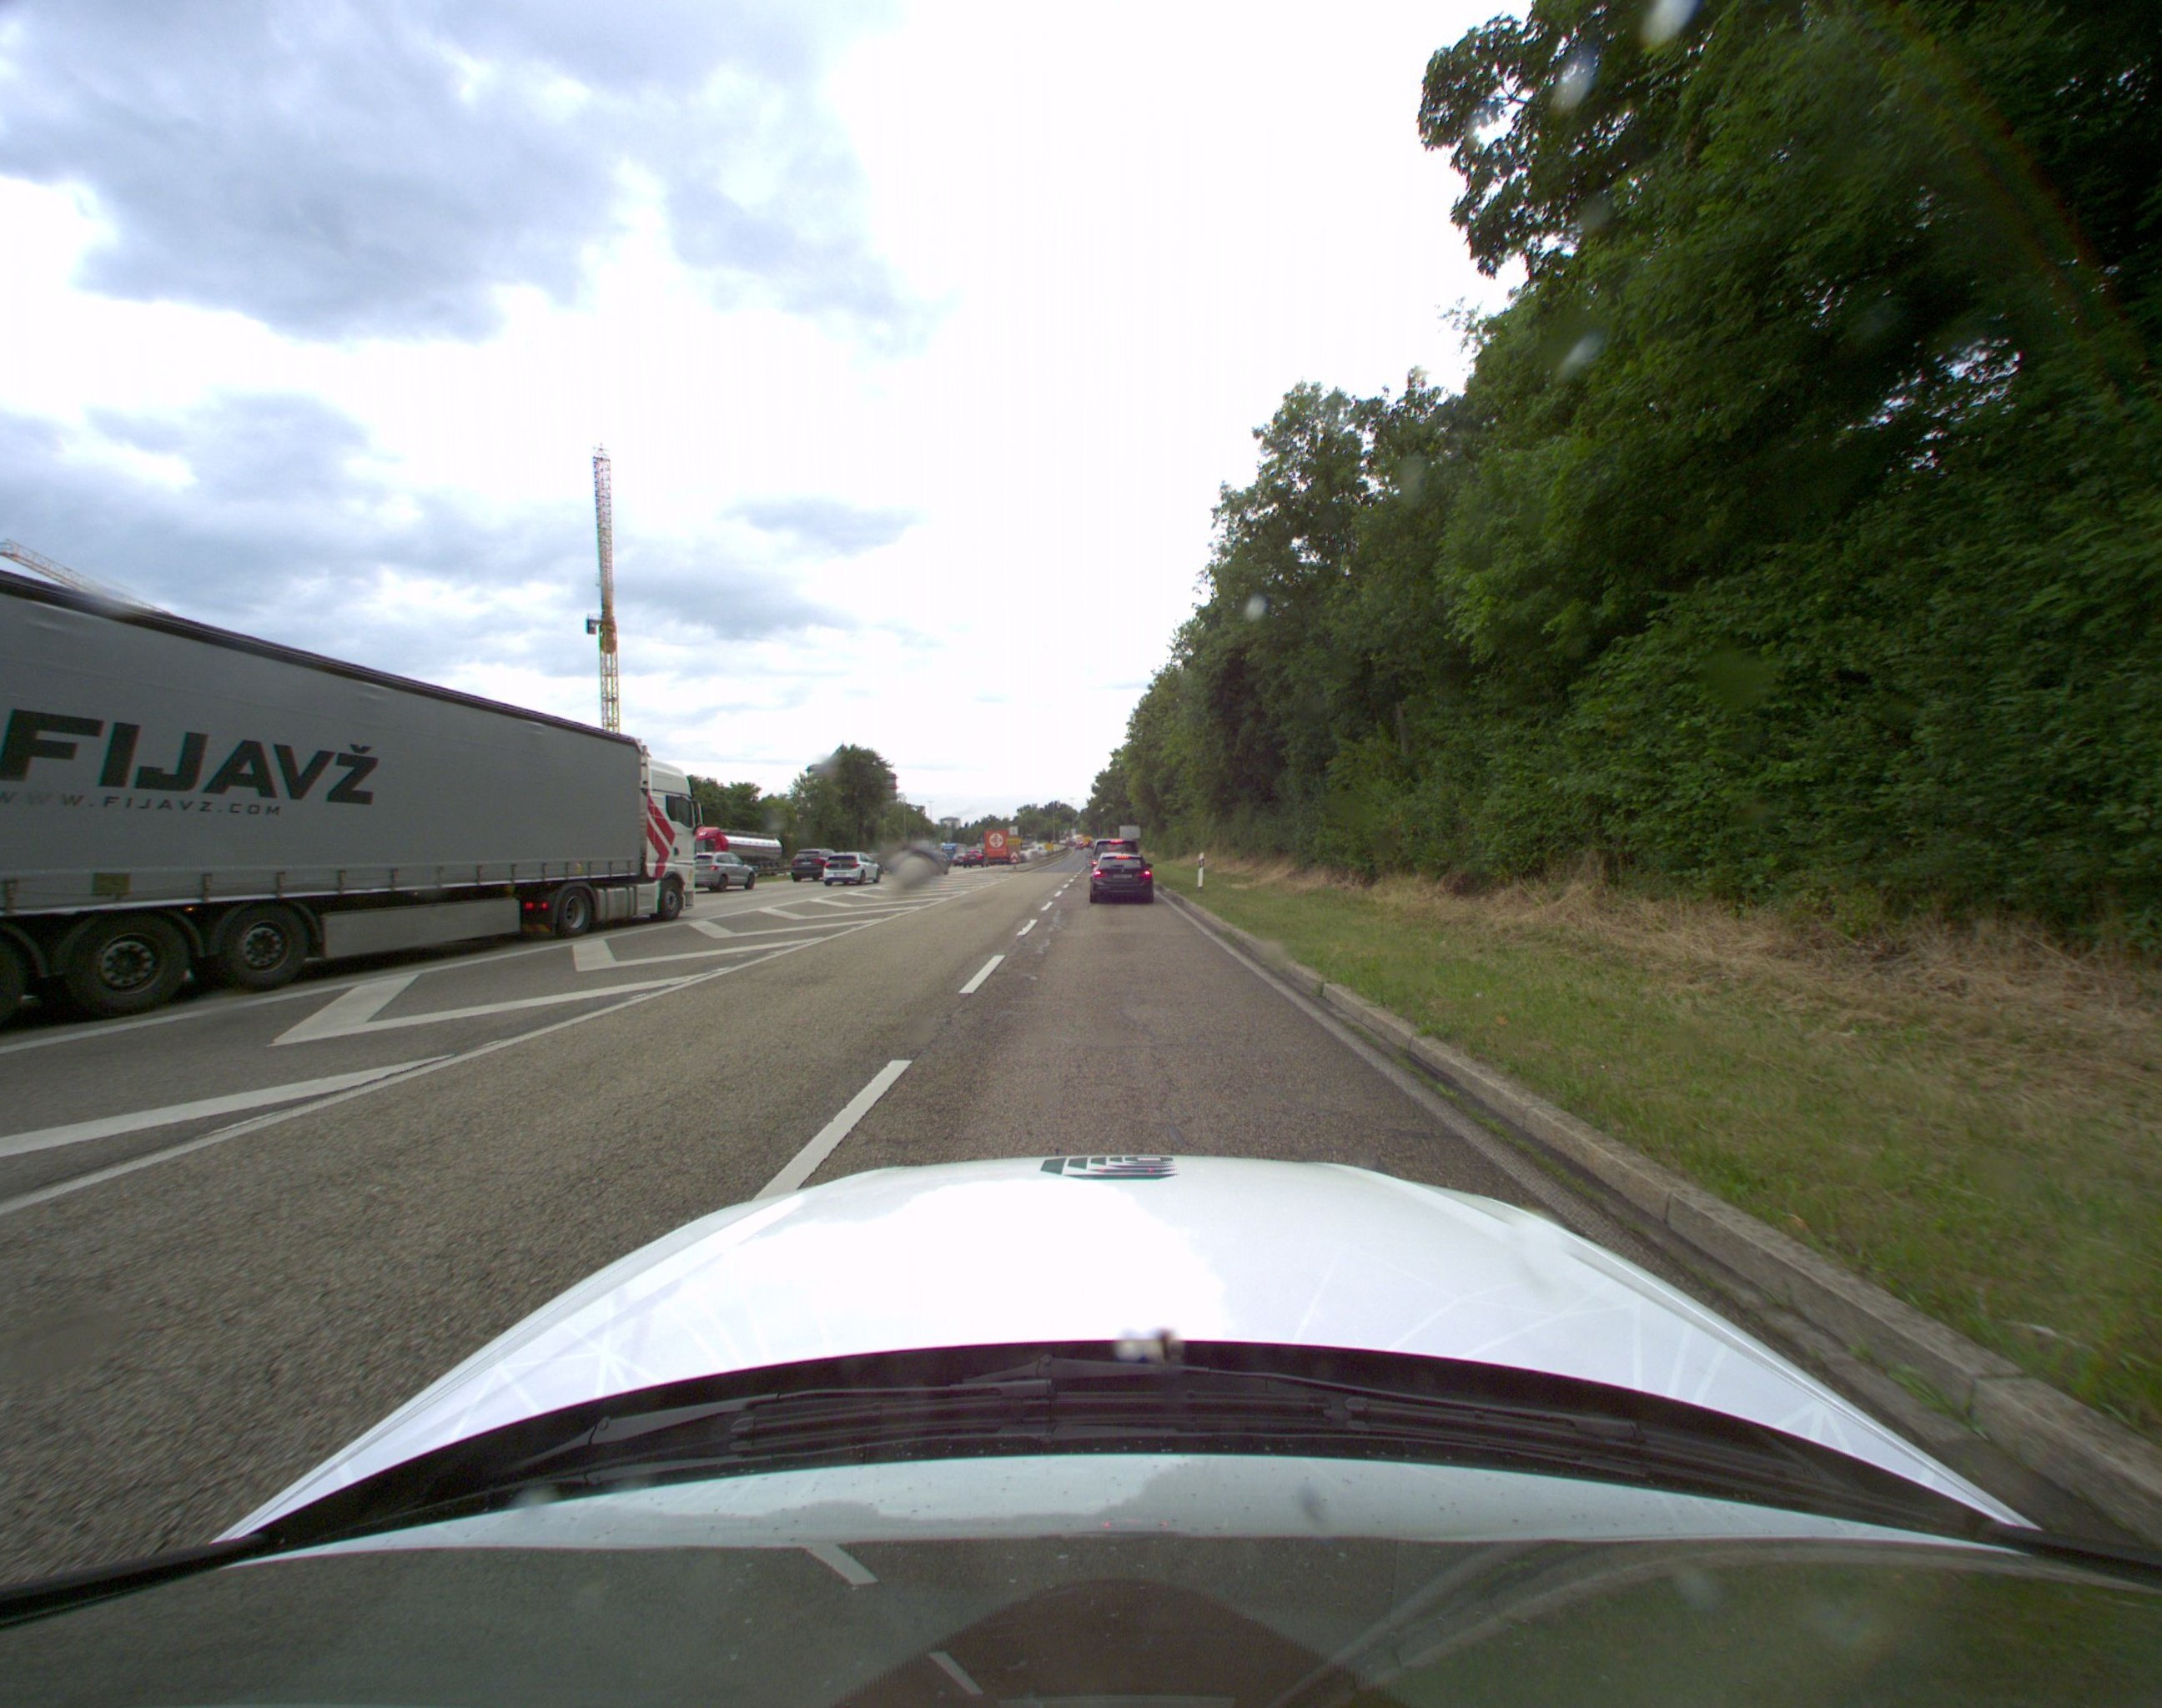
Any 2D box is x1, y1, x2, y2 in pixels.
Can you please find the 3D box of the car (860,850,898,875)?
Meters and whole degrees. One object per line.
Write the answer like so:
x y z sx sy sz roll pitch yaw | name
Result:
-14.395 0.582 58.206 1.712 1.716 3.999 0 0 0 | car

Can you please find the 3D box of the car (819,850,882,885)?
-10.894 0.623 38.743 1.794 1.604 4.256 0 0 0 | car

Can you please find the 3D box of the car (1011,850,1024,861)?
-9.081 0.231 117.228 1.773 1.482 3.996 -1 0 -3 | car

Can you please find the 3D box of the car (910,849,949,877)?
-9.527 0.541 51.518 1.712 1.684 3.999 0 0 0 | car

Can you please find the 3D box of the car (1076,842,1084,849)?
-0.260 -1.883 182.318 1.819 1.482 3.999 -1 0 0 | car

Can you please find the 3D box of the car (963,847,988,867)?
-10.136 0.276 78.219 1.854 1.816 3.999 0 0 0 | car

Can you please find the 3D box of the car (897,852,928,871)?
-14.695 0.617 71.321 1.853 1.618 4.000 0 0 0 | car

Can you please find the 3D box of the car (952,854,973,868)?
-13.624 0.773 94.004 1.853 1.618 4.000 0 0 0 | car

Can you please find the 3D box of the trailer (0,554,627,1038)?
-10.724 -0.459 9.897 3.289 4.036 13.090 0 0 -1 | trailer

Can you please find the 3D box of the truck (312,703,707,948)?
-10.866 -0.444 16.737 3.190 3.947 7.069 0 0 -1 | truck

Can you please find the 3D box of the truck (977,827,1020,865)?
-9.534 -0.902 95.711 3.478 4.073 13.591 -2 0 0 | truck

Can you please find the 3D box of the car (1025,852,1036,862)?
-7.901 0.492 128.040 1.552 1.552 3.816 0 0 -1 | car

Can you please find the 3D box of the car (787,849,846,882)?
-14.516 0.615 44.886 1.867 1.716 4.001 0 0 1 | car

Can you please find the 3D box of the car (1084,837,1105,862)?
1.095 -0.388 68.554 1.600 2.013 3.998 -1 0 -2 | car

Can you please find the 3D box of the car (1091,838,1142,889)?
1.353 0.346 31.344 1.816 1.822 4.001 0 0 2 | car

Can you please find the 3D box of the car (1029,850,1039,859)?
-8.225 0.008 143.678 1.552 1.552 3.998 -1 0 -1 | car

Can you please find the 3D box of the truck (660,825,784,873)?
-26.116 -0.281 60.517 3.056 3.083 14.660 0 0 -2 | truck

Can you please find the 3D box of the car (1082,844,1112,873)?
1.136 0.289 59.033 1.988 2.013 3.998 -1 0 -2 | car

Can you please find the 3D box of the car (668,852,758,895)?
-14.869 0.751 33.140 1.722 1.601 3.929 -1 0 2 | car

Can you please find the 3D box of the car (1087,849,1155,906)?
1.107 0.618 24.138 1.819 1.482 4.000 -2 0 0 | car
